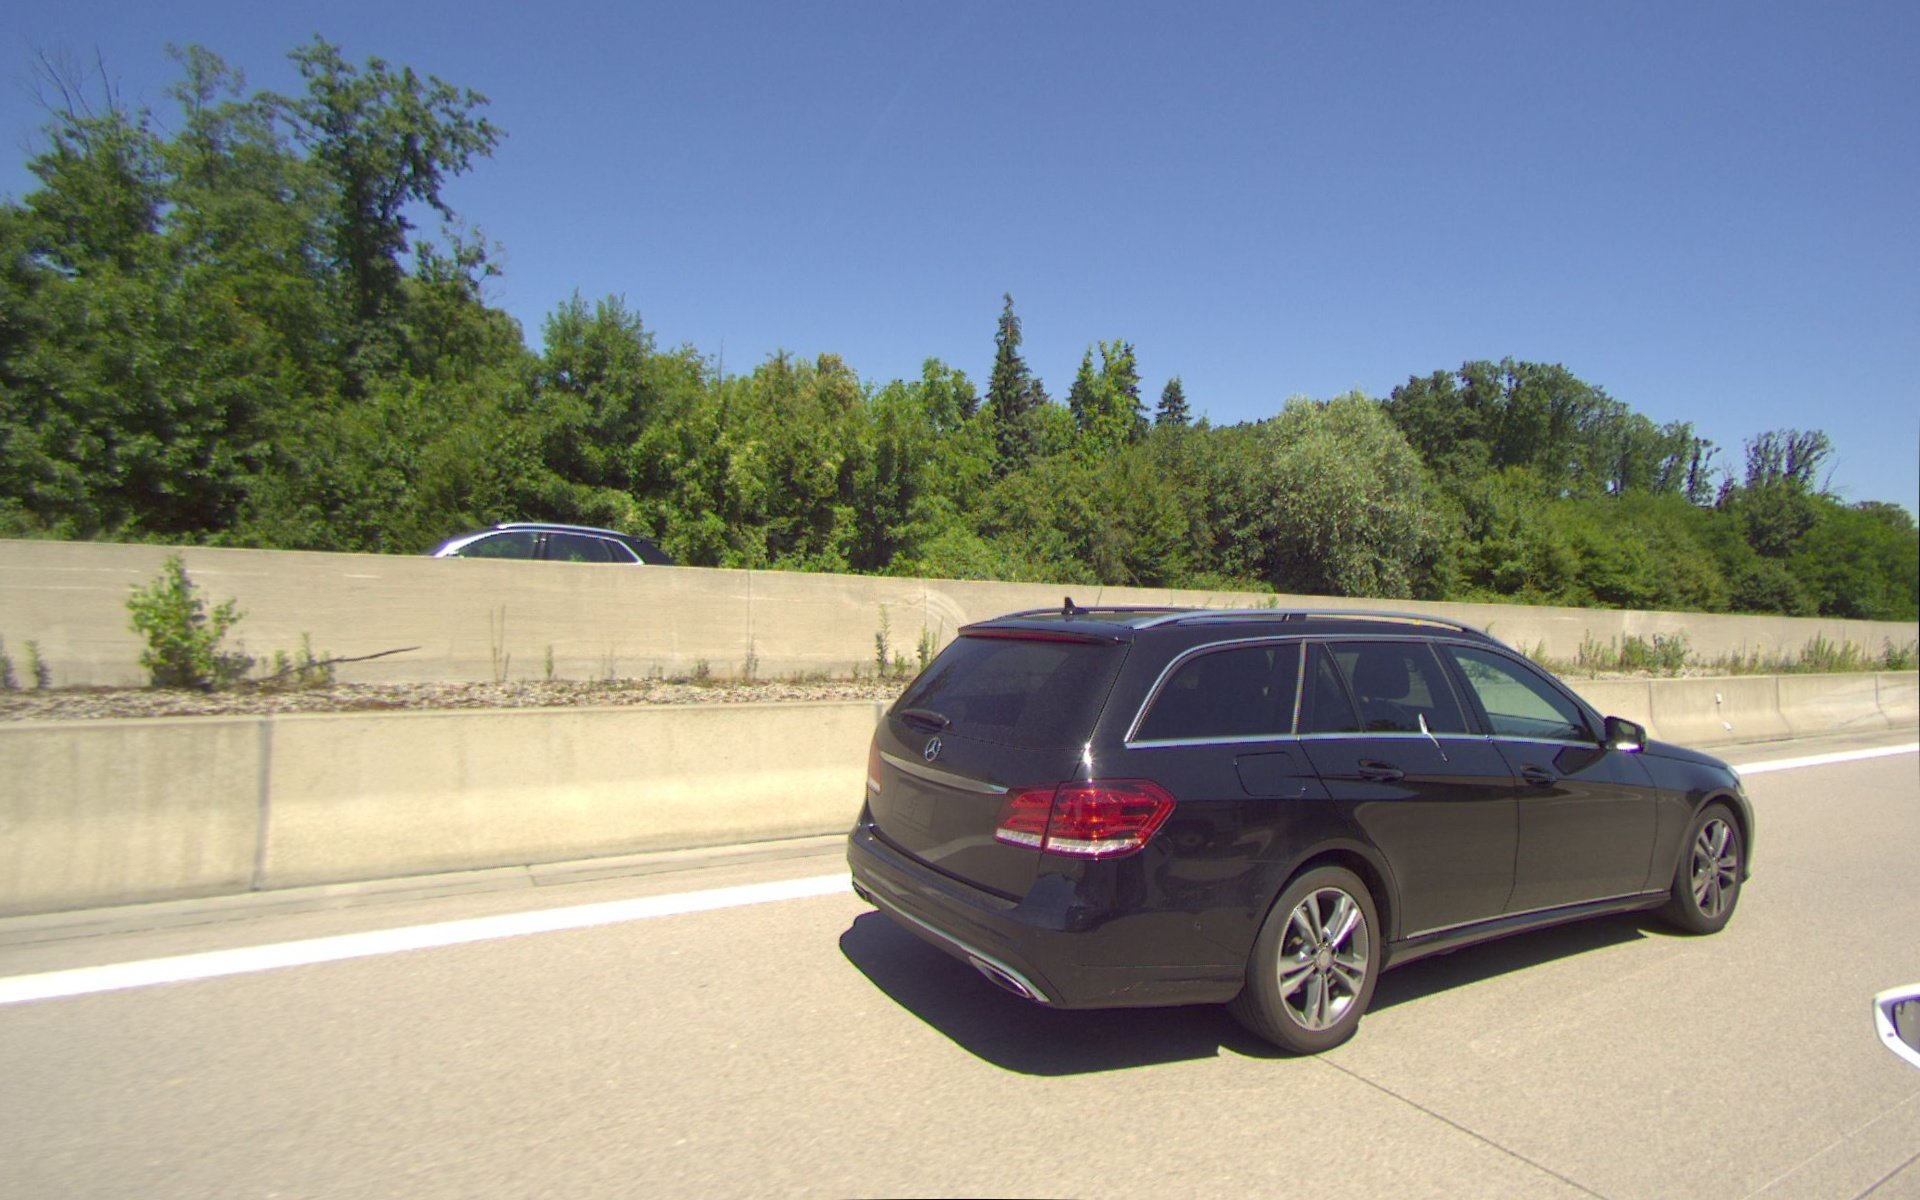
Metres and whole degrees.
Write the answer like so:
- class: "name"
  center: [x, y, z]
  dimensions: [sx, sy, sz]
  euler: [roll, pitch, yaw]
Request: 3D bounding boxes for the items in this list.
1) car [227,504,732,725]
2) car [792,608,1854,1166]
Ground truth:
- class: "car"
  center: [-5.051, 0.192, 11.084]
  dimensions: [4.731, 2.040, 1.425]
  euler: [2, 0, -31]
- class: "car"
  center: [2.123, 0.822, 4.950]
  dimensions: [5.539, 1.493, 1.881]
  euler: [1, -1, -31]
